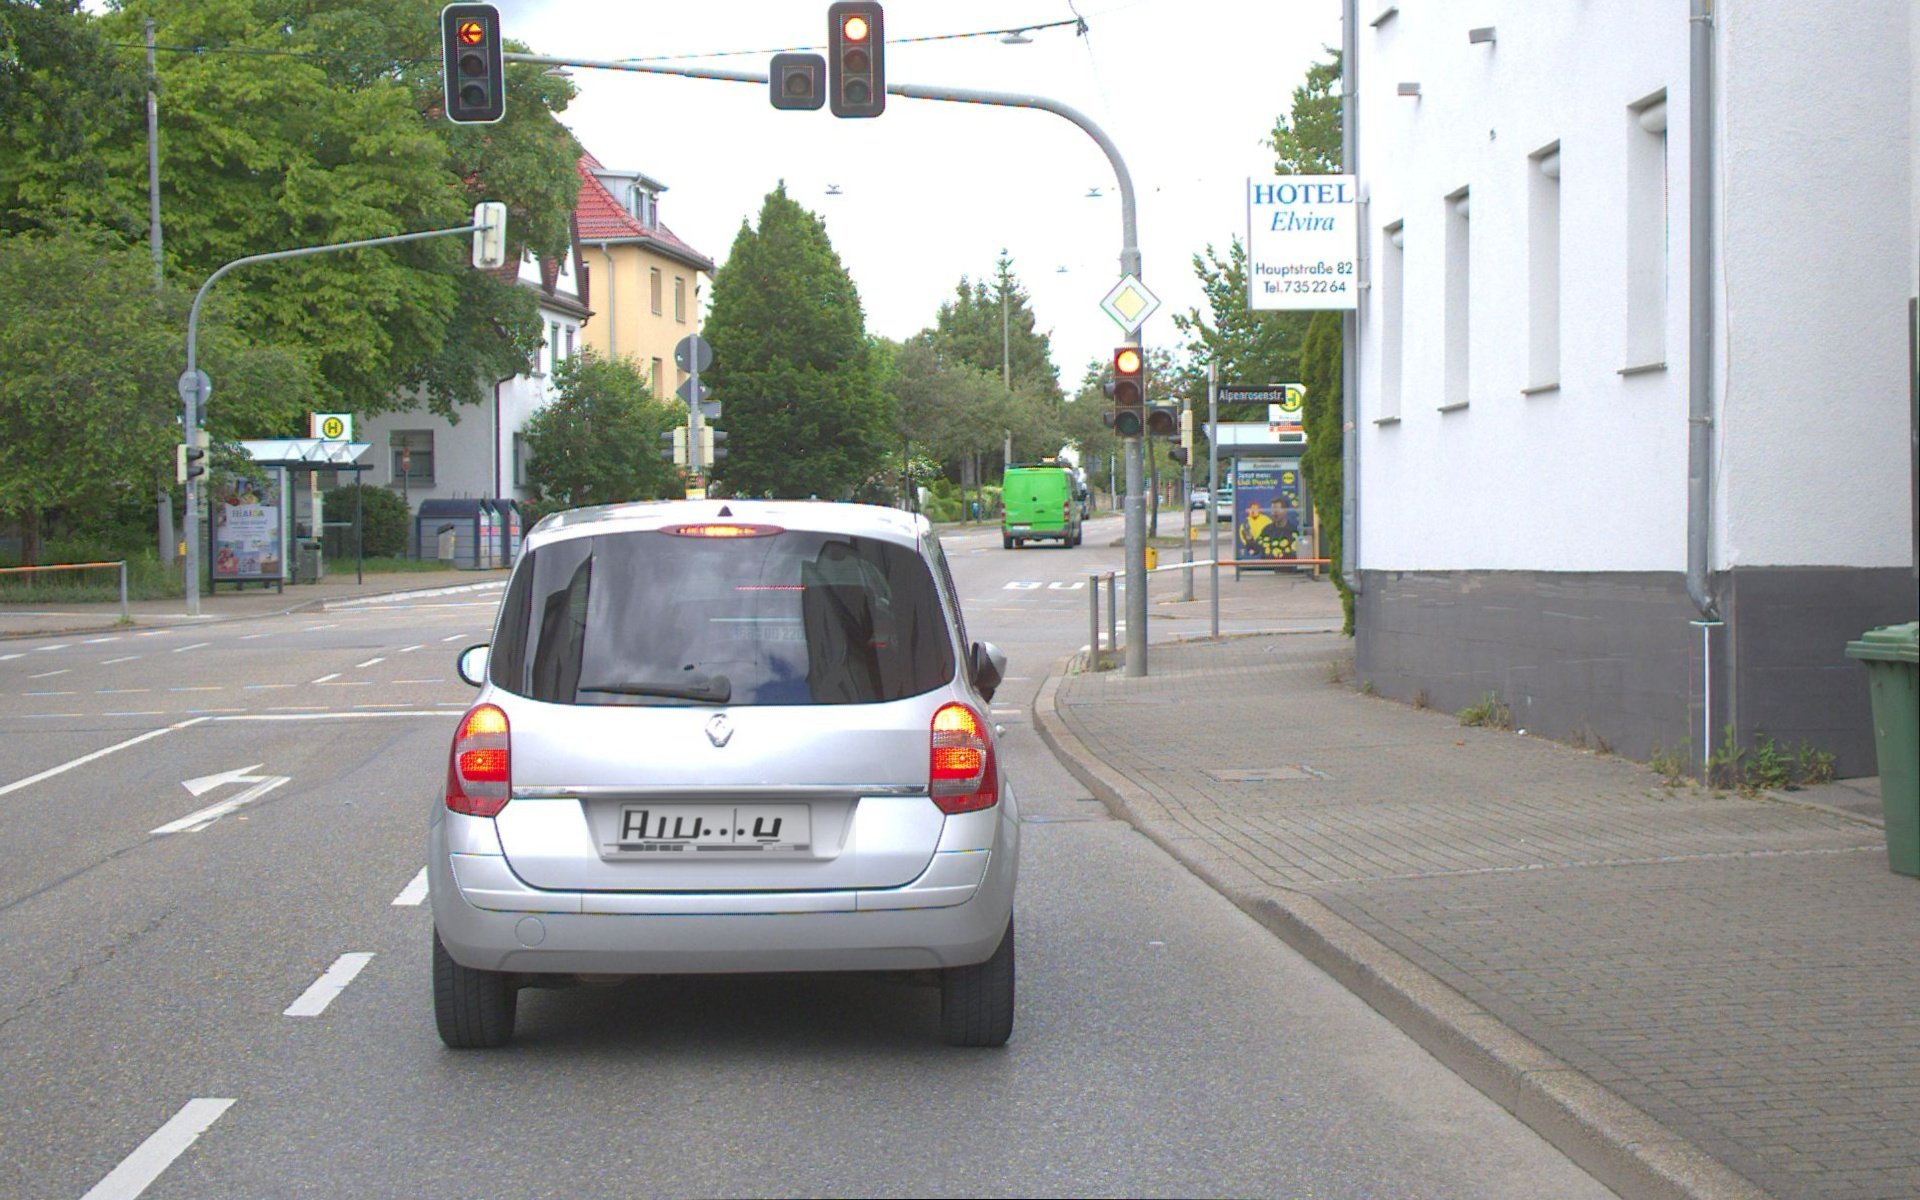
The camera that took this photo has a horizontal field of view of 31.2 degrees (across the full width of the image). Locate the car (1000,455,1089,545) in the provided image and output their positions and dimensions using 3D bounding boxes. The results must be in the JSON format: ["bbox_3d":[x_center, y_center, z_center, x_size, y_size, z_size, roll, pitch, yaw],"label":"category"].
[{"bbox_3d":[2.471,-2.861,99.057,2.059,2.503,5.594,1,1,6],"label":"car"}]

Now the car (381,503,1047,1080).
[{"bbox_3d":[-0.746,0.475,11.115,1.755,1.525,4.001,0,1,-3],"label":"car"}]

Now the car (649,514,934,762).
[{"bbox_3d":[-1.135,0.201,23.191,1.755,1.525,3.798,0,1,-3],"label":"car"}]

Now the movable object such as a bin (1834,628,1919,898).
[{"bbox_3d":[3.552,0.581,12.561,0.540,0.938,0.487,-3,1,-2],"label":"movable object such as a bin"}]

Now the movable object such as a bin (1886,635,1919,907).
[{"bbox_3d":[3.599,0.591,12.026,0.540,0.938,0.487,-3,1,-2],"label":"movable object such as a bin"}]

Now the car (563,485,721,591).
[{"bbox_3d":[-5.841,-1.165,63.620,1.927,1.767,3.999,-4,1,8],"label":"car"}]
